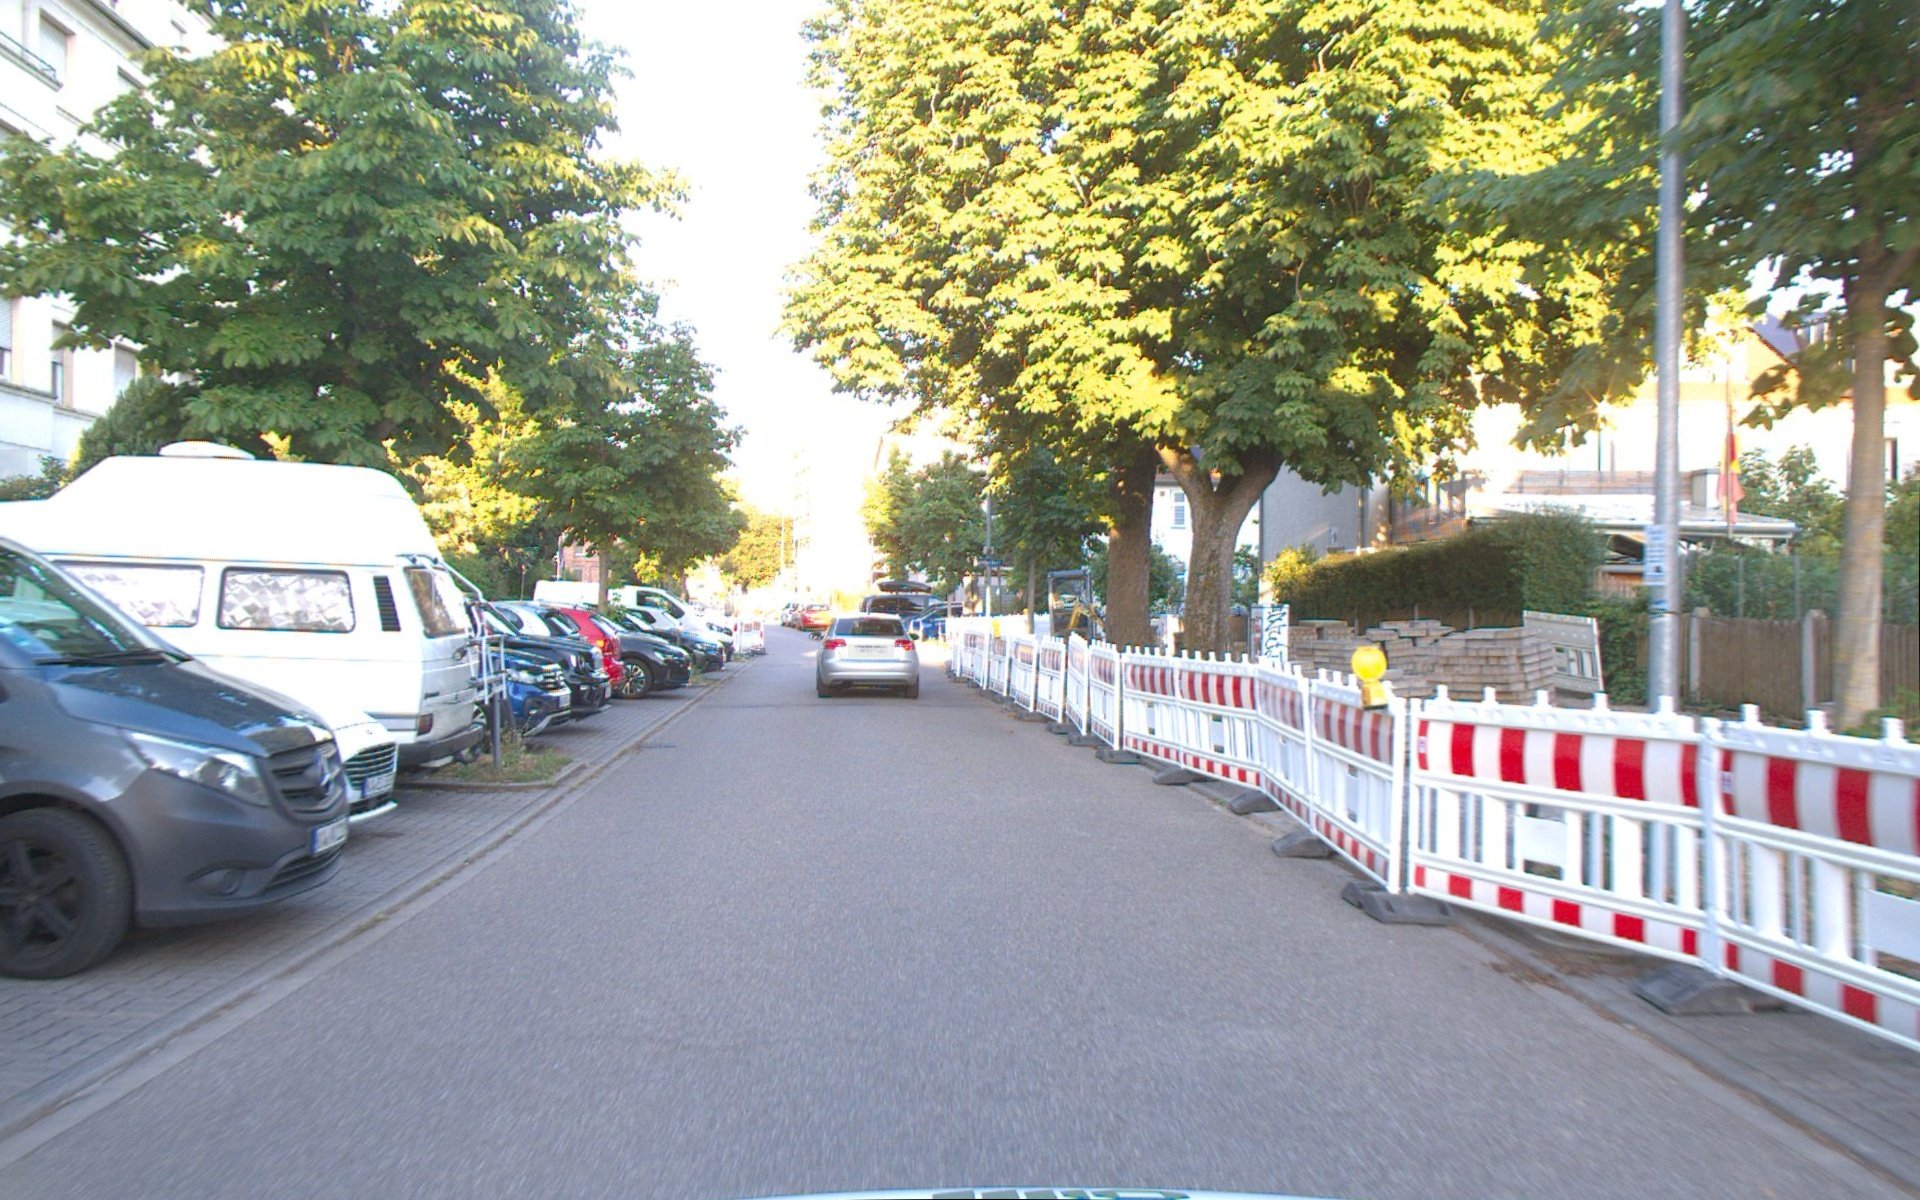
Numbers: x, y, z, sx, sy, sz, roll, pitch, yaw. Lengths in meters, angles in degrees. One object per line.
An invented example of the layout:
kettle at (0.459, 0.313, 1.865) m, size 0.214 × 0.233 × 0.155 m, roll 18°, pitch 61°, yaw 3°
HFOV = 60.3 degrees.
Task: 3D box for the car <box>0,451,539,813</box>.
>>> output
car at (-5.668, 0.220, 12.571) m, size 4.413 × 2.473 × 1.999 m, roll 1°, pitch 0°, yaw -4°

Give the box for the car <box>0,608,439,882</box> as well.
car at (-5.497, 0.790, 9.965) m, size 4.092 × 1.450 × 1.999 m, roll 1°, pitch 0°, yaw -3°

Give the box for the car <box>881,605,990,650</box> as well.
car at (-0.954, 1.068, 63.995) m, size 3.922 × 1.680 × 1.757 m, roll 1°, pitch 0°, yaw -17°

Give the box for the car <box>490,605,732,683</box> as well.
car at (-7.123, 0.897, 34.200) m, size 4.680 × 1.496 × 1.879 m, roll 1°, pitch -1°, yaw -6°

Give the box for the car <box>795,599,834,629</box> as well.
car at (-7.594, 0.729, 86.092) m, size 1.699 × 1.509 × 3.549 m, roll 1°, pitch 0°, yaw -10°

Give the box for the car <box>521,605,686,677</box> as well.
car at (-7.900, 0.899, 36.905) m, size 3.347 × 1.510 × 1.757 m, roll 1°, pitch 0°, yaw -4°

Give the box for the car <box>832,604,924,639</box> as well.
car at (-3.890, 1.026, 78.639) m, size 4.082 × 1.599 × 1.790 m, roll 1°, pitch 0°, yaw -17°

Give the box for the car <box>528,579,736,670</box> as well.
car at (-7.743, 0.568, 39.449) m, size 4.680 × 2.049 × 1.997 m, roll 1°, pitch 0°, yaw -6°

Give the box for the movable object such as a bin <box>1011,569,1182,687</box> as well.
movable object such as a bin at (2.960, 0.578, 37.306) m, size 2.581 × 2.445 × 5.184 m, roll 1°, pitch 0°, yaw -11°

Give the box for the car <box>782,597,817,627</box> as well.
car at (-9.360, 0.676, 96.294) m, size 1.776 × 1.641 × 3.572 m, roll 1°, pitch 0°, yaw -10°

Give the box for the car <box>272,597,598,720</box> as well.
car at (-6.977, 0.770, 22.343) m, size 3.912 × 1.551 × 1.786 m, roll 1°, pitch 0°, yaw -8°

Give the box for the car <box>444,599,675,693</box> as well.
car at (-7.174, 0.813, 29.976) m, size 3.914 × 1.606 × 1.797 m, roll 1°, pitch 0°, yaw -10°

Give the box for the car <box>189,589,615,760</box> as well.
car at (-5.639, 0.730, 17.093) m, size 3.783 × 1.623 × 1.785 m, roll 1°, pitch 0°, yaw -2°

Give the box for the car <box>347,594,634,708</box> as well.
car at (-7.028, 0.753, 25.100) m, size 3.911 × 1.611 × 1.729 m, roll 1°, pitch 0°, yaw -7°

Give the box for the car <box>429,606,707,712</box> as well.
car at (-6.393, 0.961, 27.433) m, size 4.325 × 1.643 × 1.896 m, roll 1°, pitch 0°, yaw -10°

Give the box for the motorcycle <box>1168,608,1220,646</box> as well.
motorcycle at (7.162, 0.816, 50.579) m, size 1.833 × 1.125 × 0.571 m, roll 1°, pitch 0°, yaw -45°

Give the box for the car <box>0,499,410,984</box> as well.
car at (-5.095, 0.532, 7.418) m, size 4.581 × 1.906 × 1.999 m, roll 1°, pitch 0°, yaw -4°

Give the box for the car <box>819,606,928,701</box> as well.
car at (-1.576, 0.879, 29.141) m, size 1.772 × 1.514 × 3.996 m, roll 0°, pitch 0°, yaw -5°

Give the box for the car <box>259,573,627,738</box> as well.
car at (-6.022, 0.635, 19.626) m, size 3.783 × 1.808 × 1.842 m, roll 1°, pitch 0°, yaw -2°

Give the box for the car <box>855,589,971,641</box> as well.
car at (-1.961, 0.621, 68.784) m, size 4.479 × 2.058 × 2.093 m, roll 1°, pitch 0°, yaw -14°
